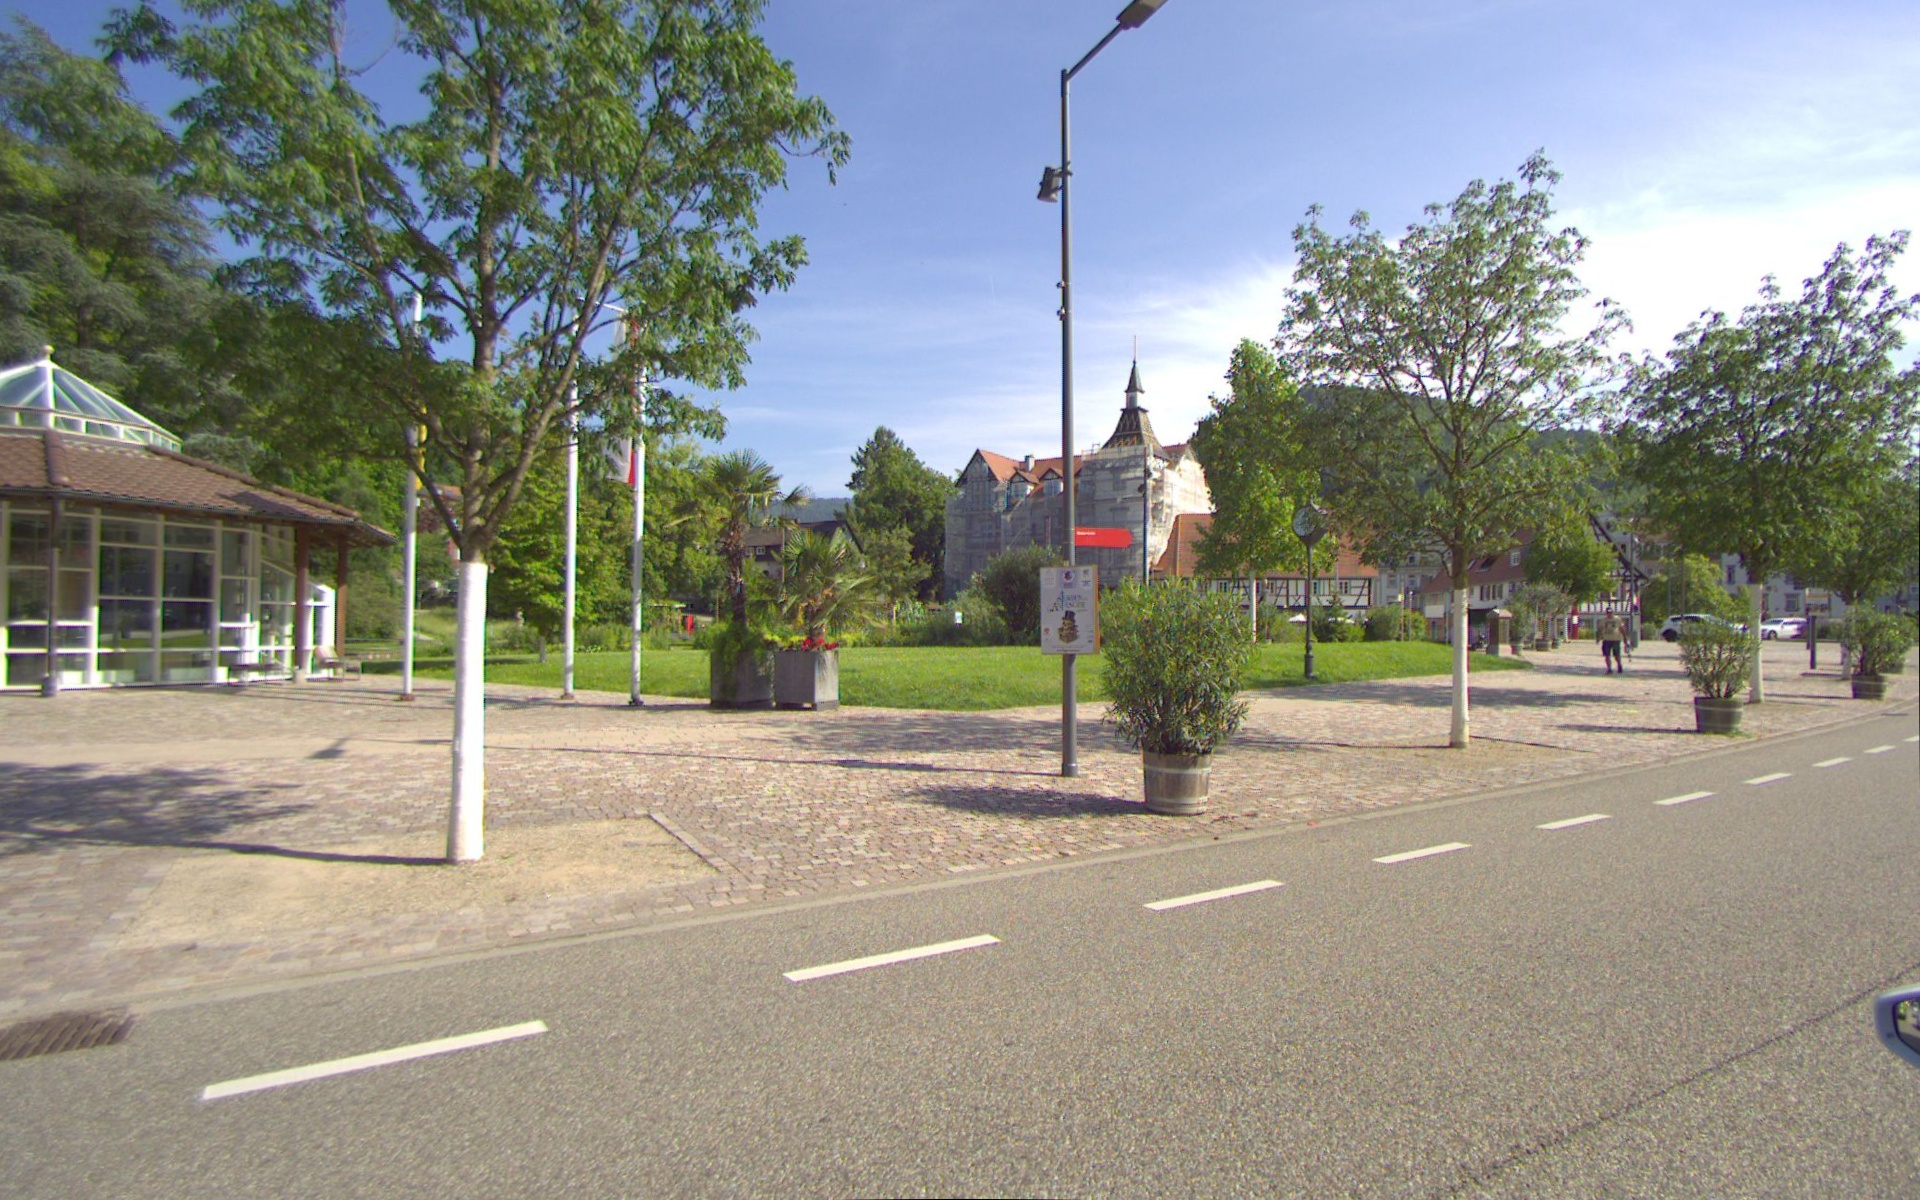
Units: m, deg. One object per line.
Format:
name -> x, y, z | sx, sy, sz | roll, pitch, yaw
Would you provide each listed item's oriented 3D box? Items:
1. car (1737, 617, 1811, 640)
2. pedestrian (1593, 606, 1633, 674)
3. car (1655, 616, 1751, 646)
car -> 52.911, 1.830, 65.309 | 4.113, 1.439, 1.685 | 1, -1, -15
pedestrian -> 18.046, 1.093, 27.753 | 0.856, 1.839, 0.688 | 0, -1, 41
car -> 42.269, 1.730, 57.232 | 1.667, 1.638, 4.158 | 1, -1, -24
